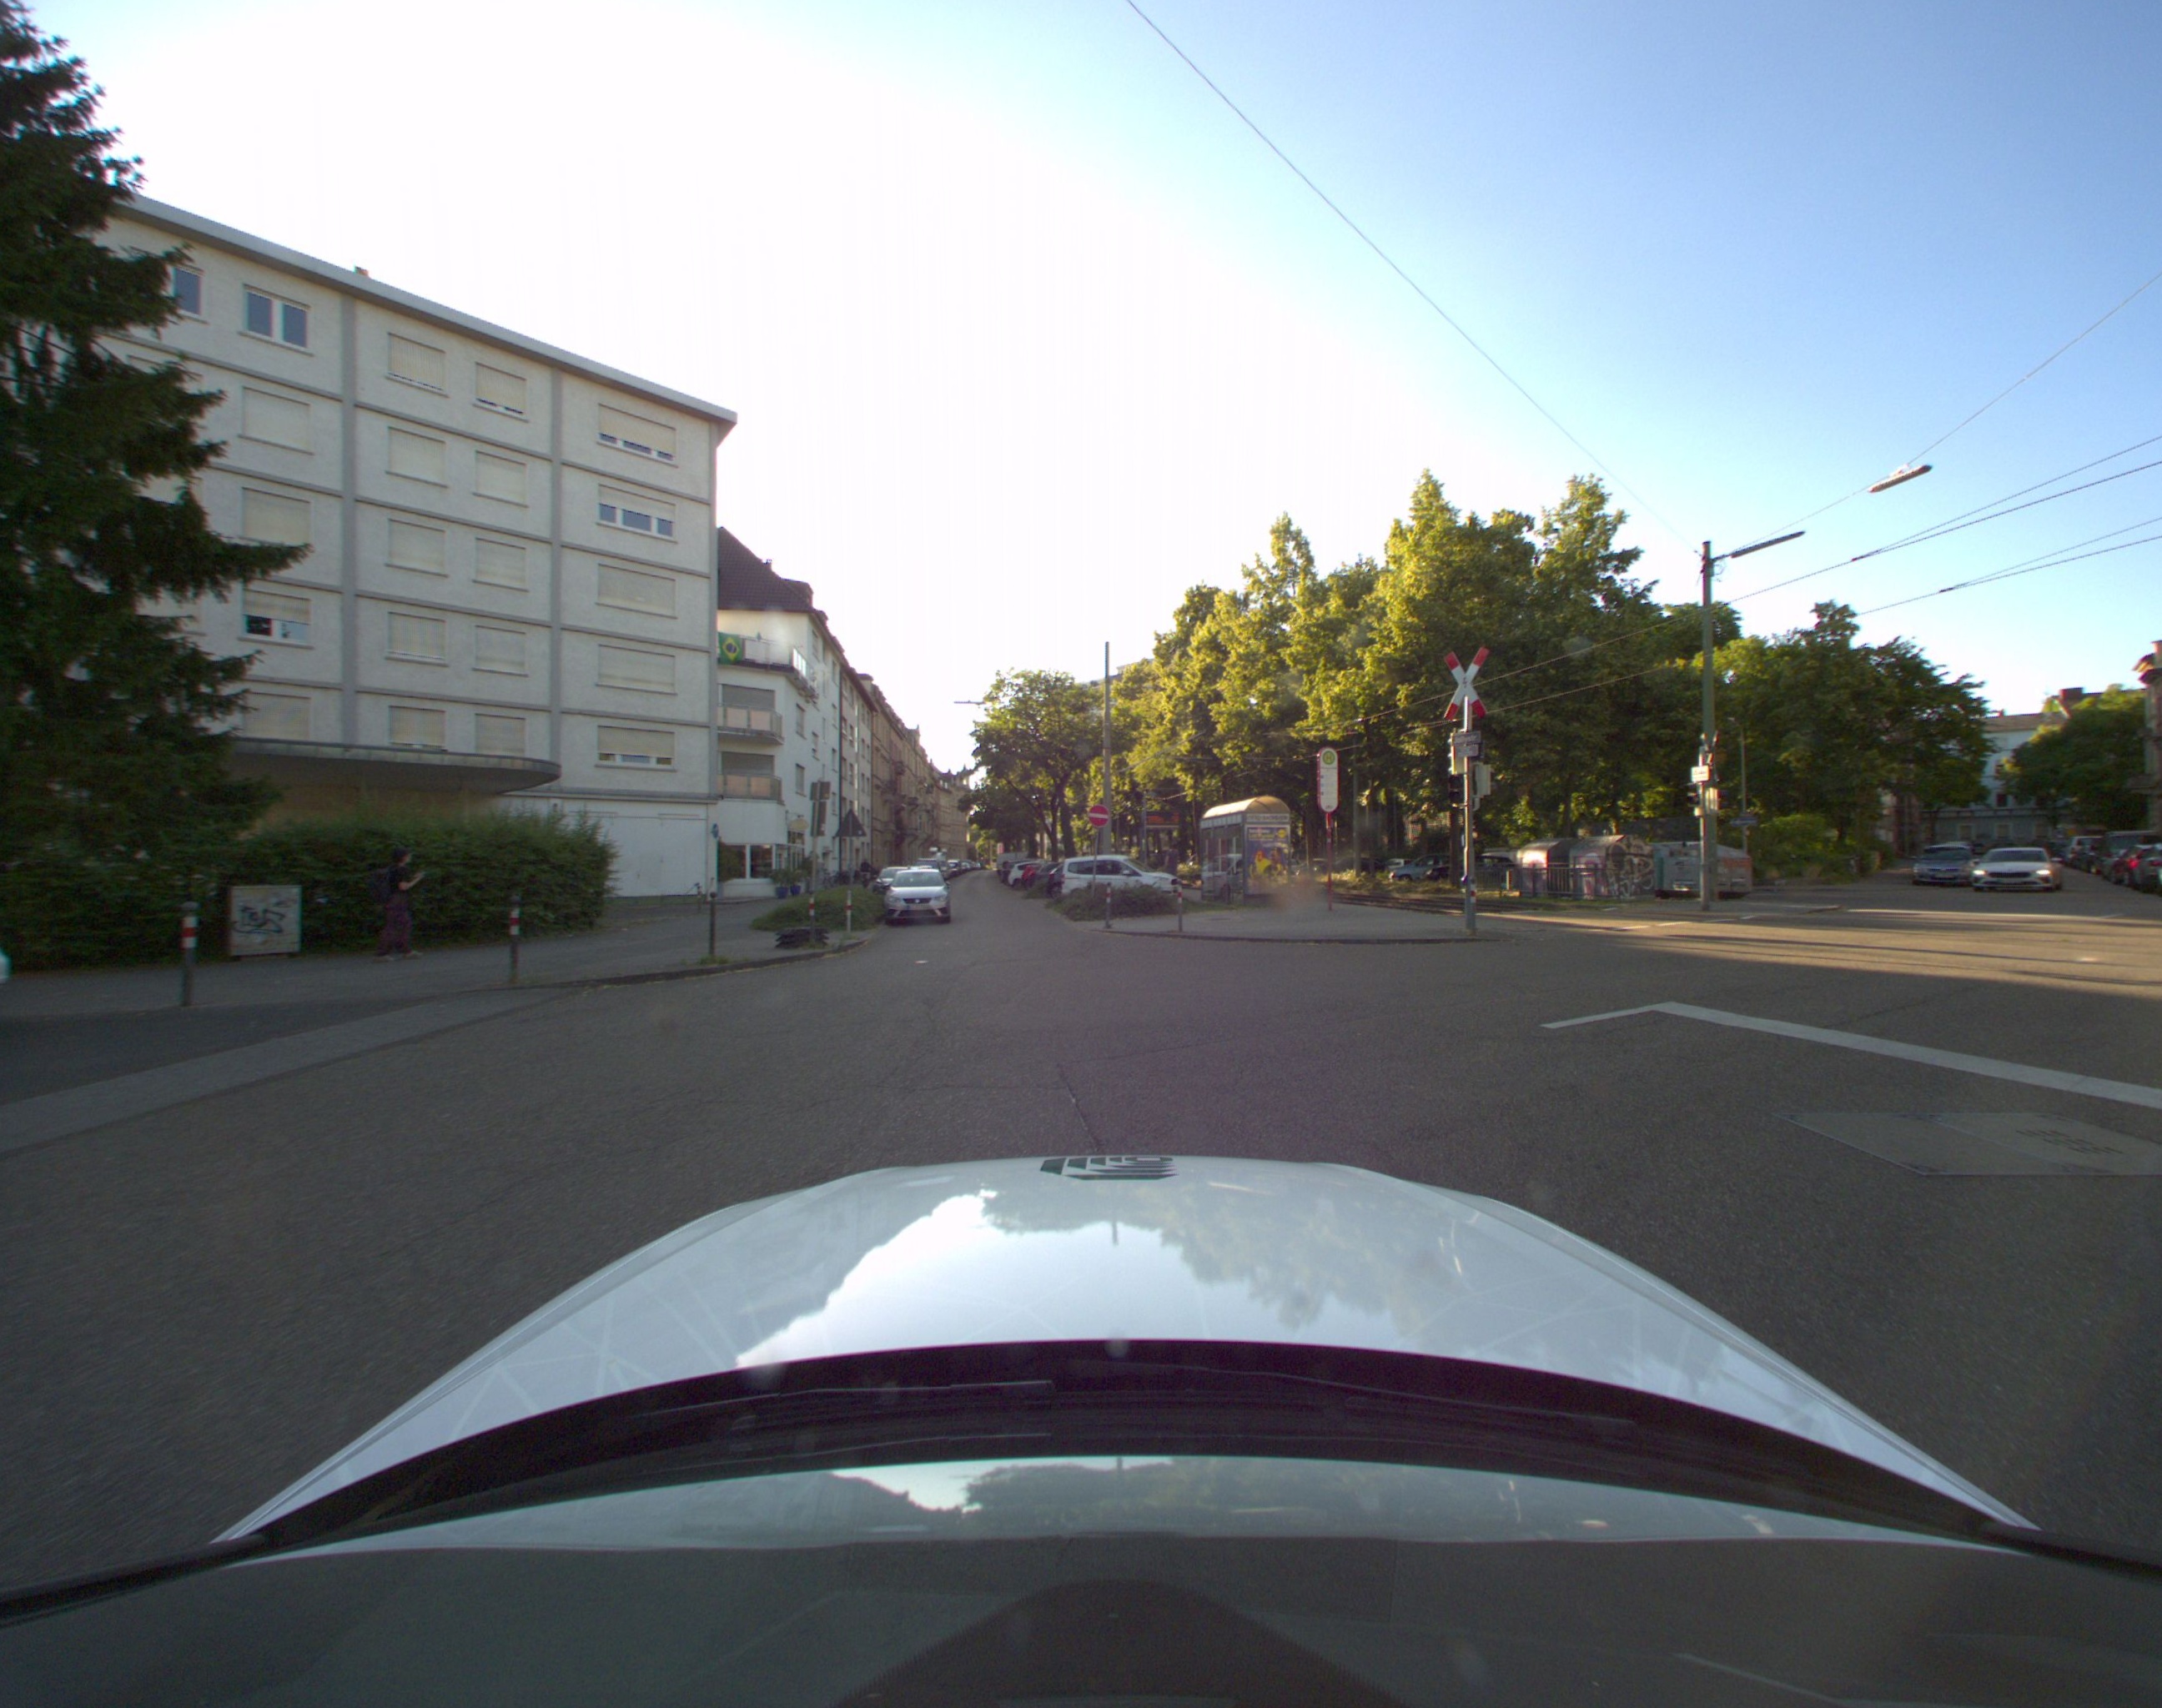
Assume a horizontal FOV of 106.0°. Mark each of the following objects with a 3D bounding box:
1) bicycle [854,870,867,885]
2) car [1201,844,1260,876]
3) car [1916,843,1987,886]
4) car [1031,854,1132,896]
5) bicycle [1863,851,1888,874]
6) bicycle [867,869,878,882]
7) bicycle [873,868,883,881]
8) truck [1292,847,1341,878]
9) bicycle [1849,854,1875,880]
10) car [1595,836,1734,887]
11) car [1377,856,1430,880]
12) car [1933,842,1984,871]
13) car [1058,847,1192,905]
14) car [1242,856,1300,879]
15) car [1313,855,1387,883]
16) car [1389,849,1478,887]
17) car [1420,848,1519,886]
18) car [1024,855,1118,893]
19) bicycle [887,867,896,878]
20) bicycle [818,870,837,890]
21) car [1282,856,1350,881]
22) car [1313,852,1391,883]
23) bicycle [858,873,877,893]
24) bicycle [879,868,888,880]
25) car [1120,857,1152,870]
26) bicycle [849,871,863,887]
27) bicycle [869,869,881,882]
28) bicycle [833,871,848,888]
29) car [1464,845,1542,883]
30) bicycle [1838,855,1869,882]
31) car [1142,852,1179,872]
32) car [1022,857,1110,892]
[{"bbox_3d":[-15.734,1.672,58.050,0.626,1.003,2.170,-1,0,-8],"label":"bicycle"},{"bbox_3d":[12.358,0.514,67.304,4.446,2.476,1.829,1,-2,23],"label":"car"},{"bbox_3d":[35.917,0.394,33.585,4.314,1.614,1.811,0,3,-41],"label":"car"},{"bbox_3d":[0.030,0.942,36.953,4.194,1.508,1.615,-5,0,17],"label":"car"},{"bbox_3d":[39.471,0.425,40.442,2.641,1.101,0.591,0,-1,-40],"label":"bicycle"},{"bbox_3d":[-17.201,1.744,67.123,0.626,1.003,2.170,-1,0,-8],"label":"bicycle"},{"bbox_3d":[-17.483,1.767,70.151,0.626,1.003,2.170,-1,0,-8],"label":"bicycle"},{"bbox_3d":[19.266,0.694,66.894,2.364,2.352,4.373,-1,-1,-7],"label":"truck"},{"bbox_3d":[34.600,0.571,36.060,2.641,1.101,0.591,0,-1,-42],"label":"bicycle"},{"bbox_3d":[24.826,0.333,34.884,1.948,2.003,4.635,-1,-1,-15],"label":"car"},{"bbox_3d":[21.205,0.916,53.621,1.572,1.467,3.586,-1,-1,-11],"label":"car"},{"bbox_3d":[49.733,0.102,46.152,3.952,1.500,1.811,0,3,-41],"label":"car"},{"bbox_3d":[1.510,0.767,28.204,4.189,1.652,1.617,-5,0,23],"label":"car"},{"bbox_3d":[12.888,0.936,55.345,3.791,1.421,1.743,2,-2,12],"label":"car"},{"bbox_3d":[15.199,0.850,46.140,3.791,1.391,1.743,2,-2,12],"label":"car"},{"bbox_3d":[16.186,0.632,37.523,3.580,1.562,1.614,2,0,16],"label":"car"},{"bbox_3d":[16.453,0.543,34.649,3.580,1.447,1.614,2,0,16],"label":"car"},{"bbox_3d":[-0.478,0.972,39.946,4.194,1.458,1.615,-5,0,17],"label":"car"},{"bbox_3d":[-19.238,1.882,82.777,0.626,1.003,2.170,-1,0,-8],"label":"bicycle"},{"bbox_3d":[-13.723,1.395,44.134,0.531,1.003,2.171,-1,0,-6],"label":"bicycle"},{"bbox_3d":[14.236,0.872,49.492,3.791,1.391,1.743,2,-2,12],"label":"car"},{"bbox_3d":[14.525,0.748,43.843,3.791,1.497,1.743,2,-2,12],"label":"car"},{"bbox_3d":[-12.023,1.648,46.003,0.711,1.051,2.342,-1,0,-7],"label":"bicycle"},{"bbox_3d":[-17.770,1.805,73.341,0.626,1.003,2.170,-1,0,-8],"label":"bicycle"},{"bbox_3d":[7.809,1.350,115.721,4.043,1.789,1.829,1,-2,23],"label":"car"},{"bbox_3d":[-15.082,1.637,54.579,0.626,1.003,2.170,-1,0,-8],"label":"bicycle"},{"bbox_3d":[-16.401,1.733,64.883,0.626,1.003,2.170,-1,0,-8],"label":"bicycle"},{"bbox_3d":[-14.933,1.592,50.600,0.531,1.003,2.170,-1,0,-8],"label":"bicycle"},{"bbox_3d":[22.674,0.541,43.907,1.573,1.903,3.885,-1,-1,-13],"label":"car"},{"bbox_3d":[32.528,0.603,34.277,2.640,1.101,0.592,0,-1,-40],"label":"bicycle"},{"bbox_3d":[9.527,0.955,97.470,4.043,2.210,1.829,1,-2,23],"label":"car"},{"bbox_3d":[-0.786,1.062,42.874,4.194,1.458,1.615,-5,0,17],"label":"car"}]
